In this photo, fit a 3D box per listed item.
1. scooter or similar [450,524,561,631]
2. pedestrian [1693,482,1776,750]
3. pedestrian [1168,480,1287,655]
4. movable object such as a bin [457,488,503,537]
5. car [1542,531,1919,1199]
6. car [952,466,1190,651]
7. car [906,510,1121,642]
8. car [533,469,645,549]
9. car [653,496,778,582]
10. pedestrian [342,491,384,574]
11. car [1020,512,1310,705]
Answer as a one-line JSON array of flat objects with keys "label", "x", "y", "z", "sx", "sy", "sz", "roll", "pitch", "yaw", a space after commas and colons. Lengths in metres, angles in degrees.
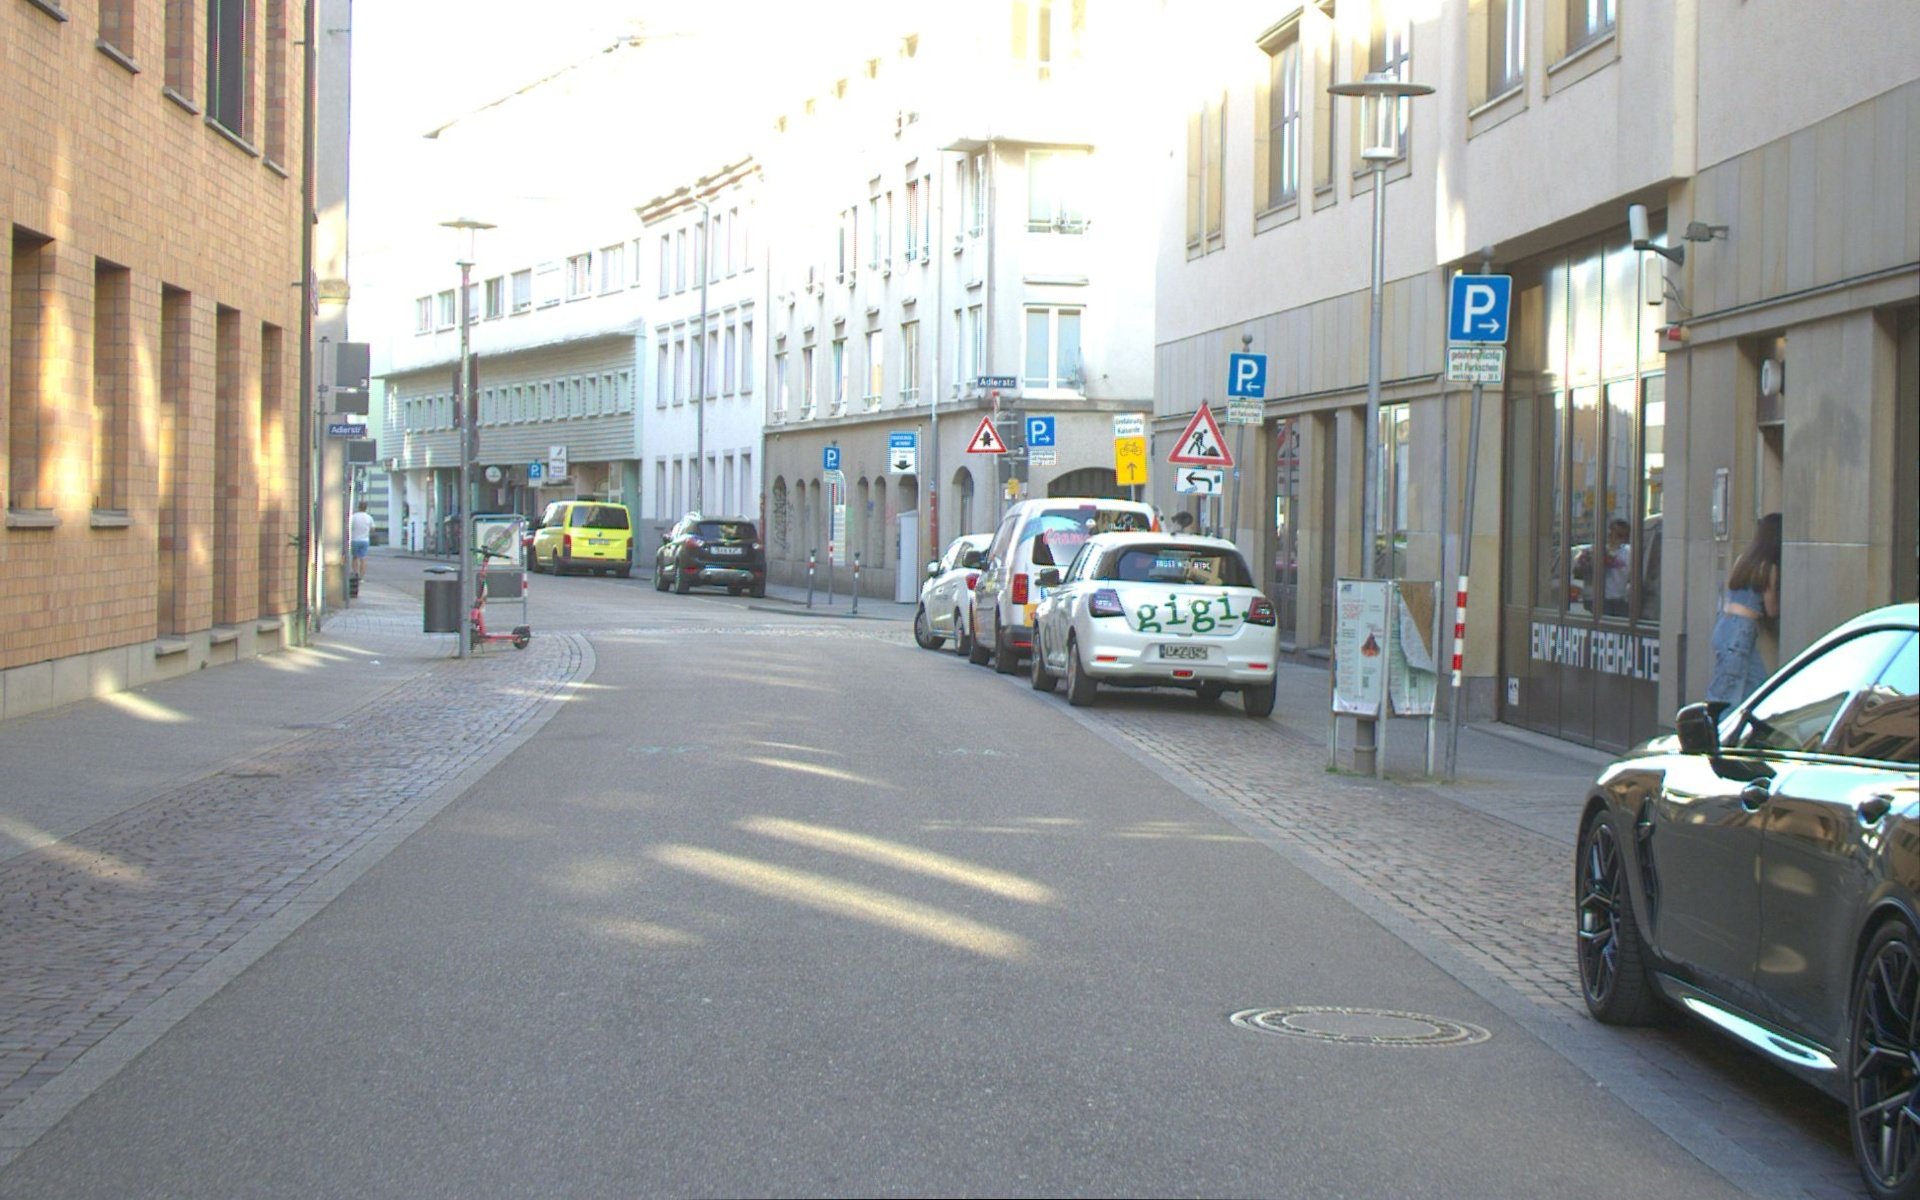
[{"label": "scooter or similar", "x": -5.316, "y": -0.280, "z": 40.239, "sx": 0.698, "sy": 1.213, "sz": 1.355, "roll": 0, "pitch": 2, "yaw": 22}, {"label": "pedestrian", "x": 4.825, "y": 0.089, "z": 21.430, "sx": 0.481, "sy": 1.648, "sz": 0.538, "roll": 0, "pitch": 2, "yaw": 10}, {"label": "pedestrian", "x": 2.789, "y": -0.344, "z": 35.965, "sx": 1.042, "sy": 1.795, "sz": 1.199, "roll": 0, "pitch": 1, "yaw": -5}, {"label": "movable object such as a bin", "x": -15.627, "y": -2.852, "z": 111.883, "sx": 1.131, "sy": 1.552, "sz": 1.740, "roll": 0, "pitch": 2, "yaw": -21}, {"label": "car", "x": 2.965, "y": 0.607, "z": 8.828, "sx": 1.894, "sy": 1.448, "sz": 5.226, "roll": 2, "pitch": 2, "yaw": -1}, {"label": "car", "x": 1.094, "y": -0.477, "z": 36.516, "sx": 1.830, "sy": 1.784, "sz": 5.215, "roll": 1, "pitch": 1, "yaw": -6}, {"label": "car", "x": 0.602, "y": -0.331, "z": 42.451, "sx": 1.888, "sy": 1.513, "sz": 4.064, "roll": 1, "pitch": 2, "yaw": -10}, {"label": "car", "x": -9.537, "y": -2.348, "z": 88.106, "sx": 2.052, "sy": 2.006, "sz": 4.176, "roll": 0, "pitch": 2, "yaw": -18}, {"label": "car", "x": -5.153, "y": -1.305, "z": 72.064, "sx": 1.967, "sy": 1.686, "sz": 4.103, "roll": 1, "pitch": 2, "yaw": -13}, {"label": "pedestrian", "x": -12.518, "y": -1.411, "z": 72.065, "sx": 0.765, "sy": 1.718, "sz": 0.687, "roll": 0, "pitch": 2, "yaw": -19}, {"label": "car", "x": 1.719, "y": 0.020, "z": 30.250, "sx": 1.840, "sy": 1.473, "sz": 4.169, "roll": 2, "pitch": 2, "yaw": -6}]
